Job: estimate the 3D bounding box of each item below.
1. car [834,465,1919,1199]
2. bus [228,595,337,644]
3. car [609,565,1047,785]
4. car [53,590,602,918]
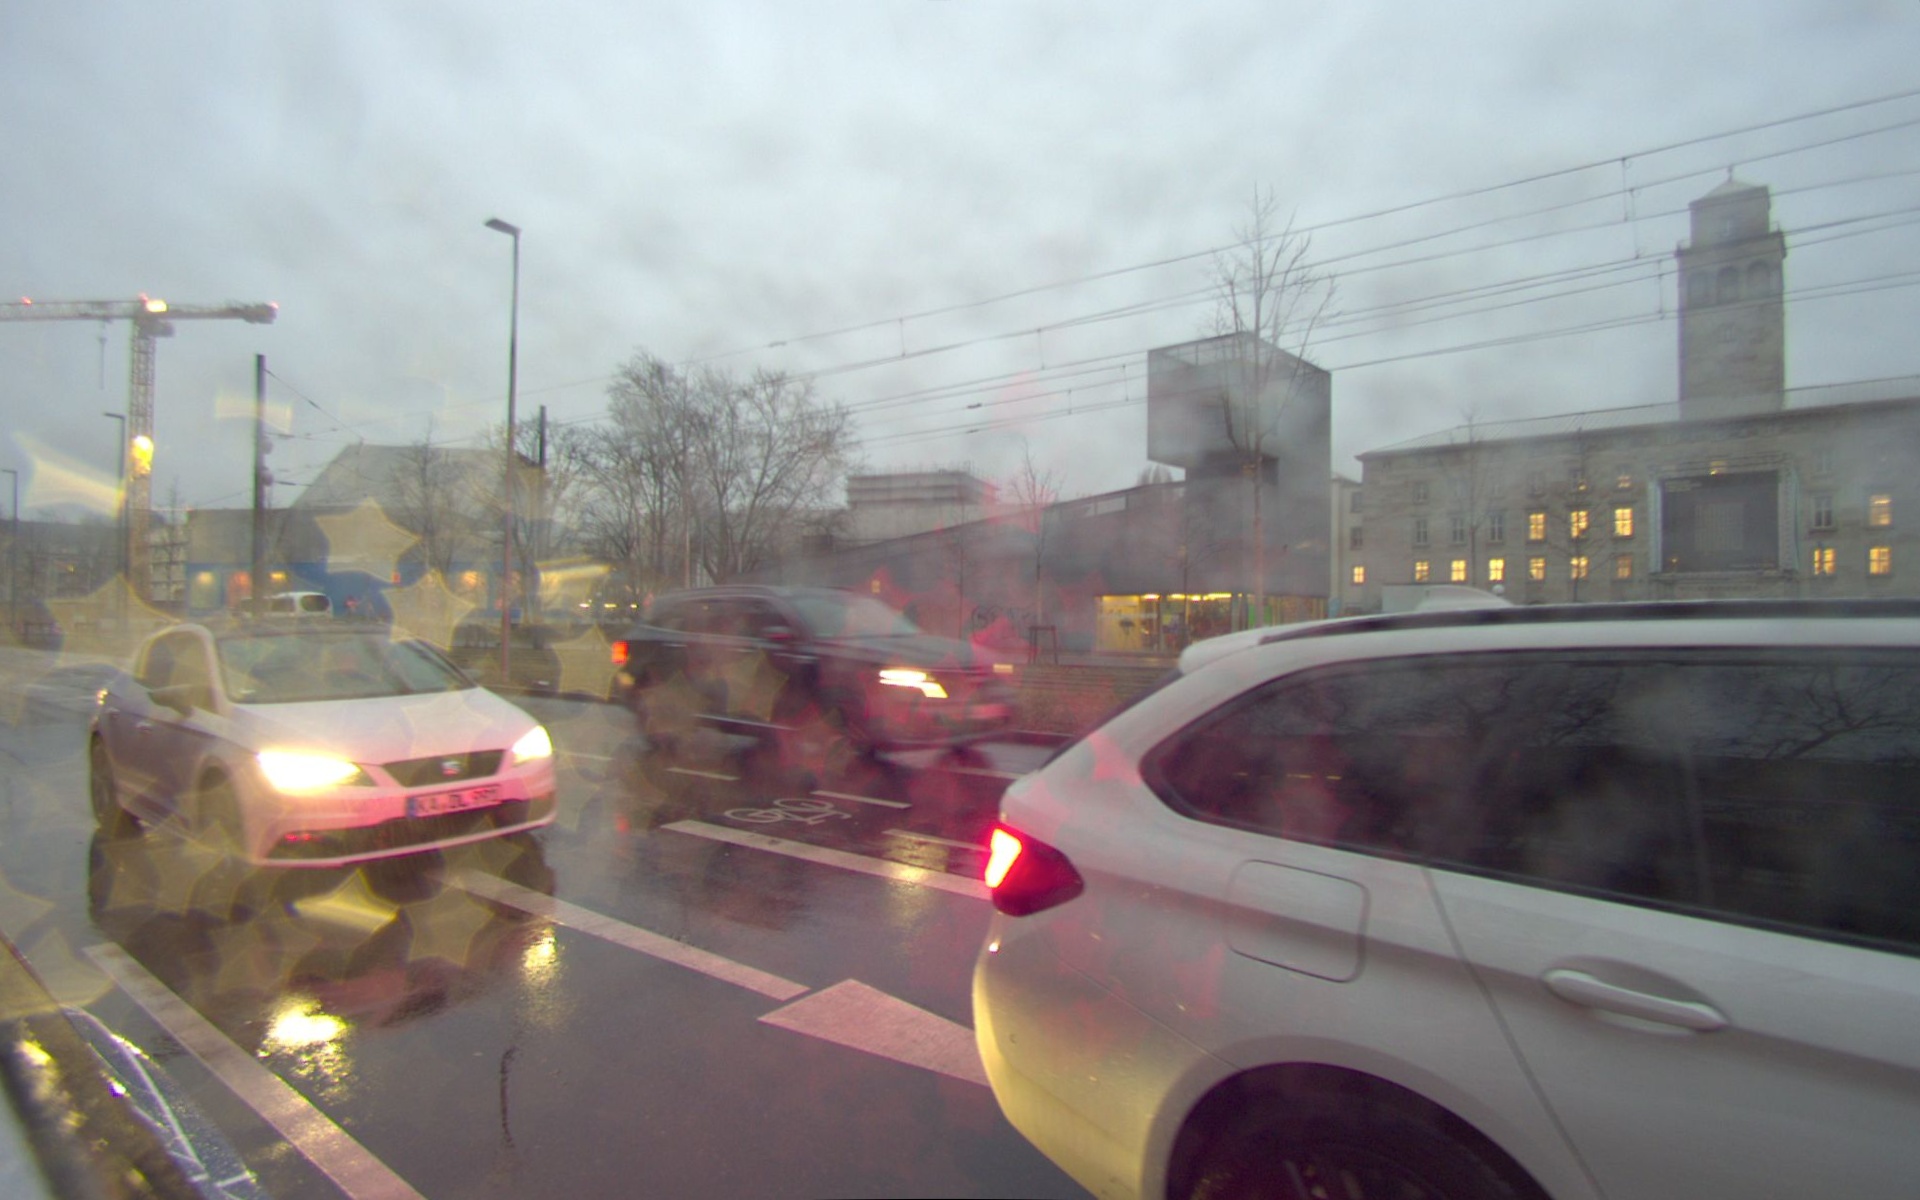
[{"bbox_3d":[2.185,0.618,1.536,4.919,1.532,1.890,-1,-2,40],"label":"car"},{"bbox_3d":[-52.960,1.511,78.924,12.277,3.605,2.783,-1,-2,35],"label":"bus"},{"bbox_3d":[-1.496,0.642,10.218,4.607,1.756,1.686,-1,-2,39],"label":"car"},{"bbox_3d":[-4.269,0.727,6.579,4.124,1.486,1.757,-1,-1,38],"label":"car"}]
